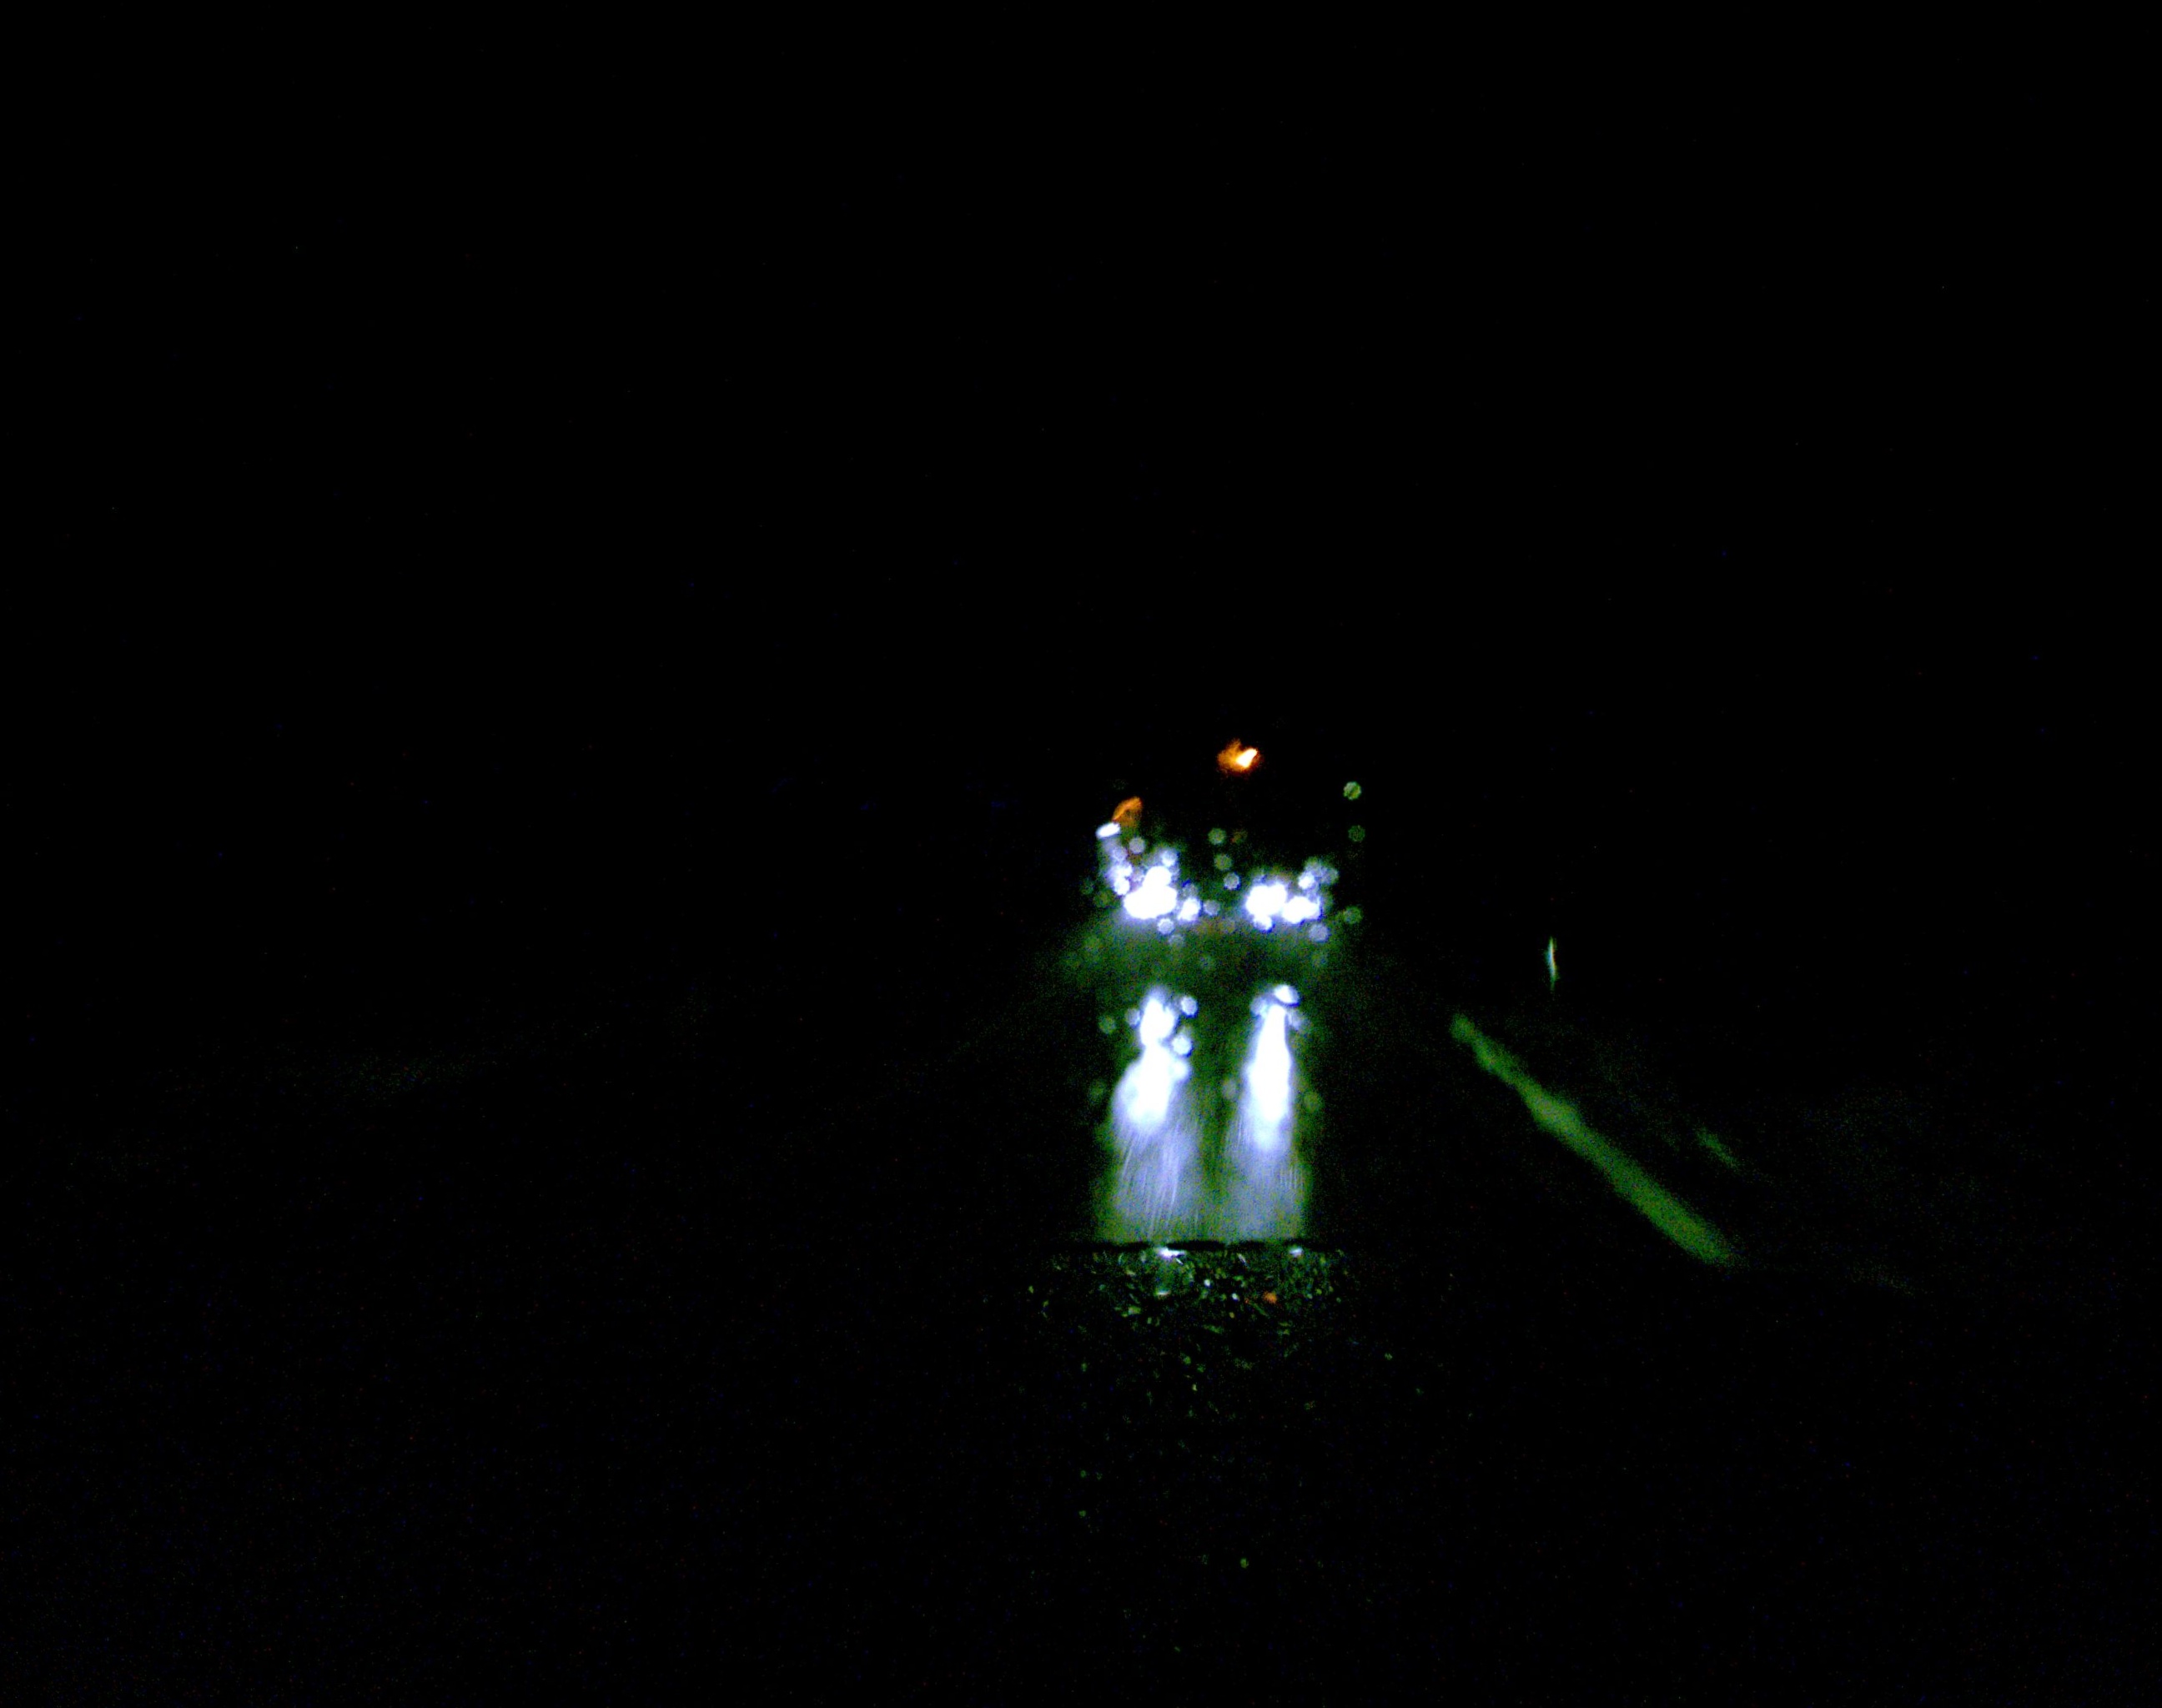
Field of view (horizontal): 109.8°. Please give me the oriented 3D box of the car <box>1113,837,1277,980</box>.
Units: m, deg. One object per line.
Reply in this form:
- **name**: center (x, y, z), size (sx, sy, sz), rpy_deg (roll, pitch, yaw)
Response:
- **car**: center (1.709, 0.623, 11.196), size (1.892, 1.678, 4.342), rpy_deg (-2, 1, 10)

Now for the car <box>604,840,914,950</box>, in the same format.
- **car**: center (-5.343, 0.616, 12.825), size (4.474, 1.577, 1.941), rpy_deg (1, 0, 12)
